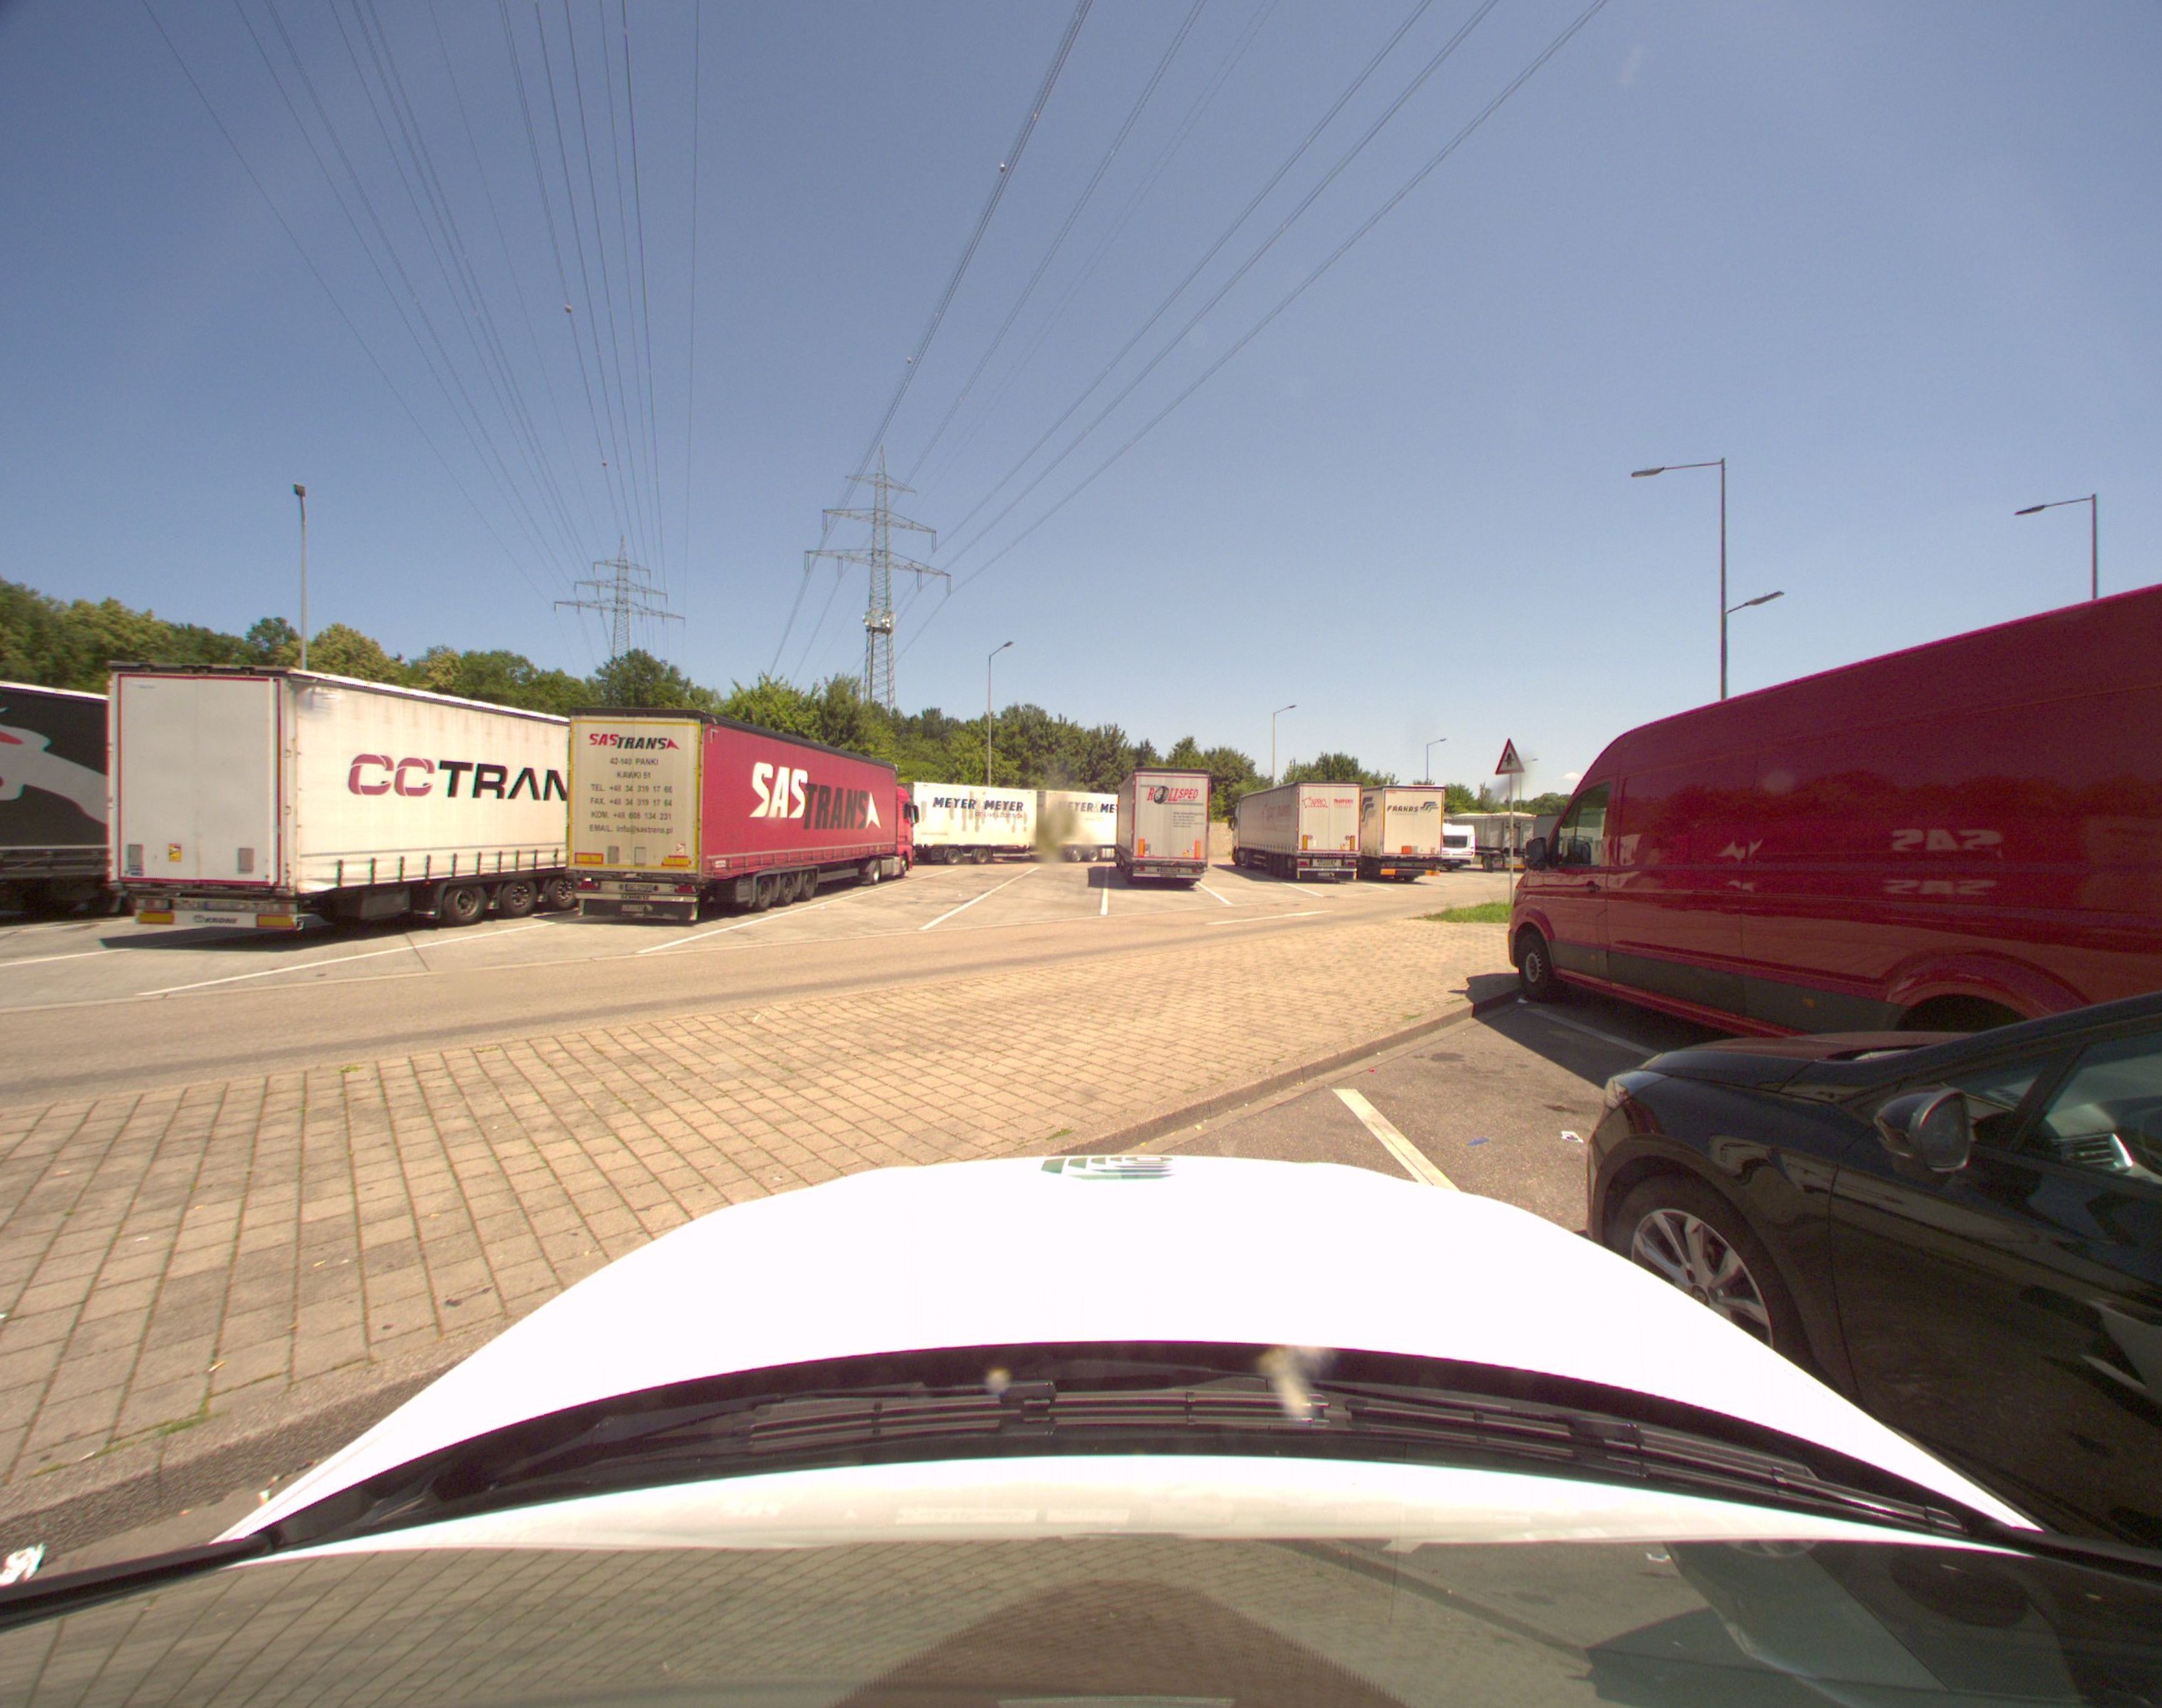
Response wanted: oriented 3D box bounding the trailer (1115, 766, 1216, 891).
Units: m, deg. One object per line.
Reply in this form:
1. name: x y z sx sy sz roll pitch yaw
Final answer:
1. trailer: 3.049 -1.105 33.710 2.857 4.037 14.244 0 2 1

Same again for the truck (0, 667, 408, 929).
1. truck: -18.616 -1.027 16.252 2.803 4.190 8.793 0 2 2

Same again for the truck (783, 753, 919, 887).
1. truck: -7.746 -1.156 28.331 2.686 4.112 6.243 1 2 2

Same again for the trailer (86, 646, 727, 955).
1. trailer: -12.160 -0.979 17.771 2.803 4.266 12.947 0 2 2

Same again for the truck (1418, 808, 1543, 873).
1. truck: 24.305 -0.954 50.479 2.478 3.568 11.429 1 2 2

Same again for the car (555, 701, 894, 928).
1. car: -8.046 -0.937 21.415 2.686 4.112 12.943 1 2 2

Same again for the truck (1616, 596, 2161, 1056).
1. truck: 7.940 -0.210 7.045 2.455 2.792 6.978 0 1 4

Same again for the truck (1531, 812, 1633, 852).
1. truck: 38.040 -1.639 62.356 2.117 2.820 9.783 -1 1 2

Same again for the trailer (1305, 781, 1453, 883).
1. trailer: 13.646 -1.122 38.857 2.856 4.037 12.445 1 2 2

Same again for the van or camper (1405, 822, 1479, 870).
1. van or camper: 20.595 -0.463 46.720 2.096 2.561 5.376 -1 1 3

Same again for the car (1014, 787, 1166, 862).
1. car: 0.786 -1.739 49.790 10.274 4.188 2.656 -1 3 -43

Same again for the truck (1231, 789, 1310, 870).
1. truck: 10.185 -1.367 44.514 2.856 4.037 6.960 1 2 2

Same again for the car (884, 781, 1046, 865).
1. car: -5.981 -1.612 43.244 8.516 4.043 2.656 -1 3 -44

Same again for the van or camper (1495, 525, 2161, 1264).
1. van or camper: 5.139 0.101 5.473 1.986 2.654 6.490 -1 1 6

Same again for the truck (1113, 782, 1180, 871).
1. truck: 3.143 -1.394 40.798 2.857 4.037 7.029 0 2 1

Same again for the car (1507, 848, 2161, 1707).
1. car: 2.455 0.755 1.122 1.612 1.483 3.762 -1 1 -4

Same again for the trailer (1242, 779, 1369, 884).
1. trailer: 9.958 -1.103 37.882 2.856 4.037 12.445 1 2 2
